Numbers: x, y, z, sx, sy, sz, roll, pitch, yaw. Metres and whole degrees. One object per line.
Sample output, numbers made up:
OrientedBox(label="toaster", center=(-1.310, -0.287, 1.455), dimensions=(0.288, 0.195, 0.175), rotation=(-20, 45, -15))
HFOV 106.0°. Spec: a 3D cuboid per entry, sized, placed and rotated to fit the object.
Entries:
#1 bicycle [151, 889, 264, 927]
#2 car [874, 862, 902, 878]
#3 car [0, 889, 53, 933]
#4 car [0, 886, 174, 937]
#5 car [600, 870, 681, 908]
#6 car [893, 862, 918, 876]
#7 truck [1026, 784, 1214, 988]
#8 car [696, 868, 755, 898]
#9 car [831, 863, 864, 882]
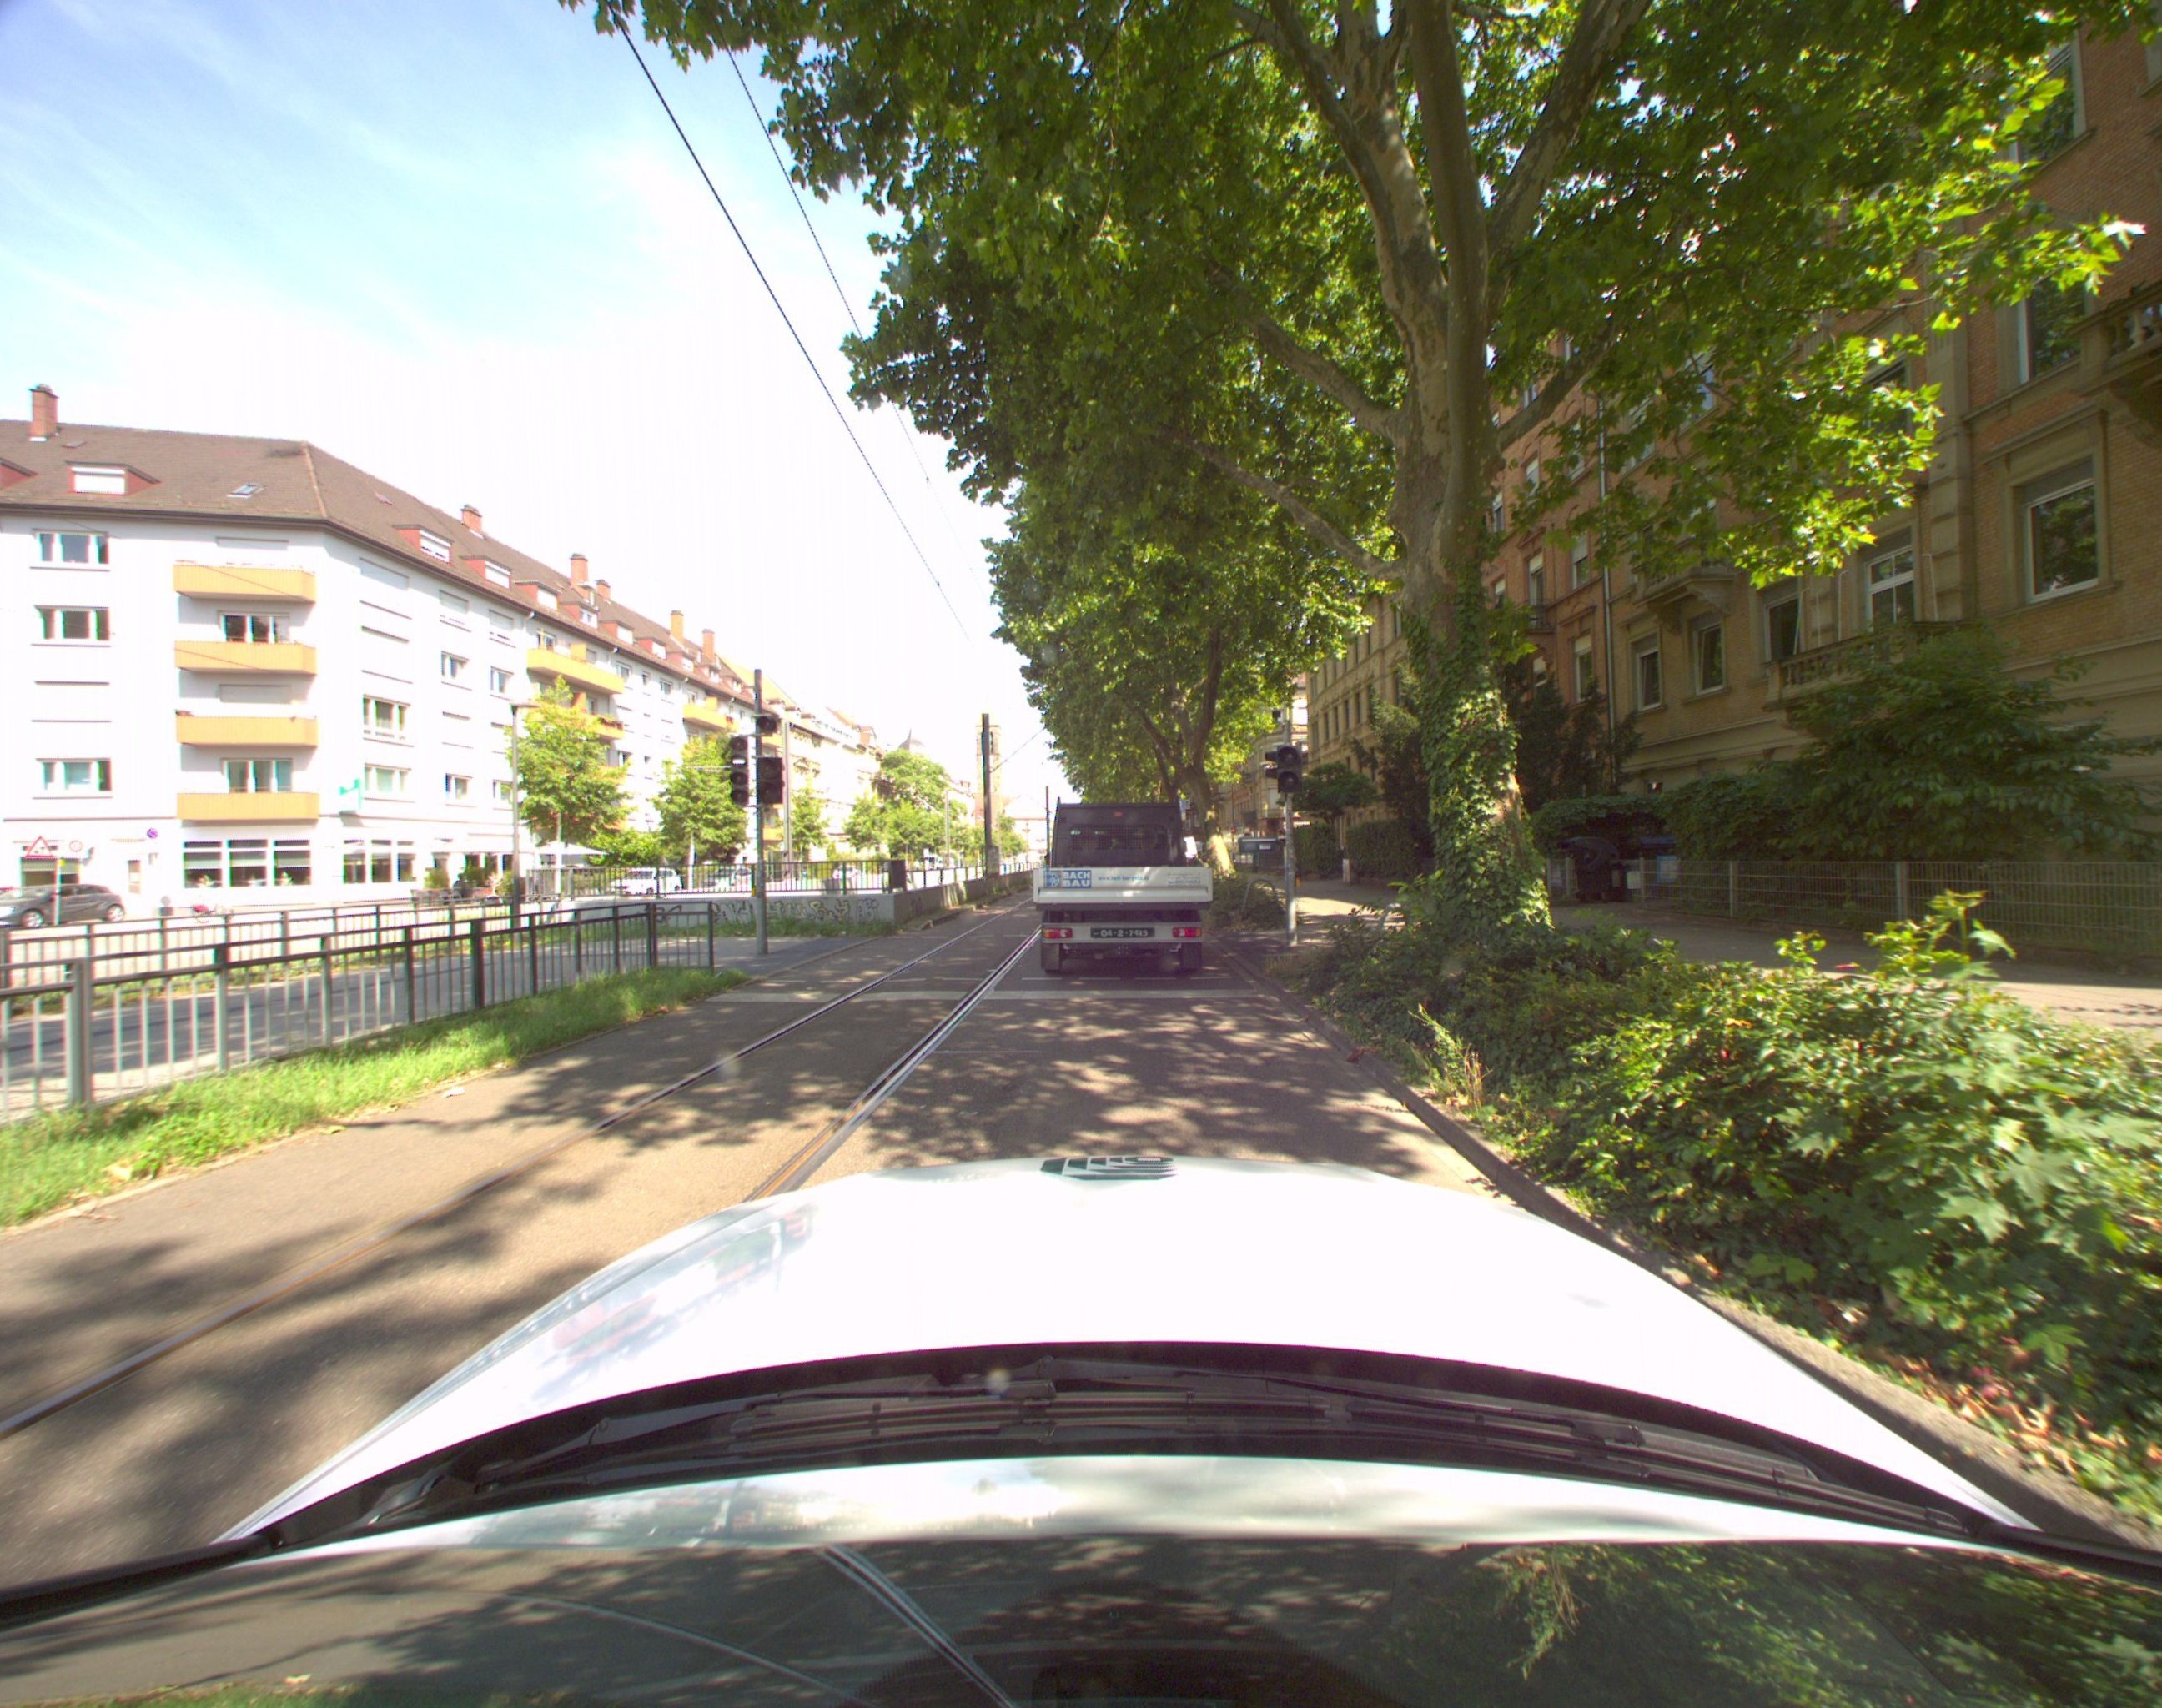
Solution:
OrientedBox(label="bicycle", center=(-30.132, 1.834, 28.189), dimensions=(0.908, 1.137, 2.807), rotation=(-2, 0, -1))
OrientedBox(label="car", center=(-19.343, 1.581, 81.728), dimensions=(1.764, 1.498, 4.000), rotation=(-2, 0, 1))
OrientedBox(label="car", center=(-36.560, 1.925, 26.170), dimensions=(1.929, 1.406, 4.158), rotation=(-2, 0, -6))
OrientedBox(label="car", center=(-33.200, 1.837, 26.734), dimensions=(1.830, 1.376, 4.637), rotation=(-2, 0, -4))
OrientedBox(label="car", center=(-20.537, 1.588, 38.138), dimensions=(1.767, 1.498, 3.994), rotation=(-3, 0, -4))
OrientedBox(label="car", center=(-19.242, 1.614, 89.568), dimensions=(1.764, 1.498, 4.000), rotation=(-2, 0, 1))
OrientedBox(label="truck", center=(0.518, 0.371, 11.575), dimensions=(2.130, 2.319, 4.403), rotation=(-1, 0, 2))
OrientedBox(label="car", center=(-20.291, 1.623, 46.613), dimensions=(1.767, 1.498, 3.994), rotation=(-3, 0, -4))
OrientedBox(label="car", center=(-19.518, 1.521, 68.210), dimensions=(1.767, 1.498, 3.994), rotation=(-2, 0, -4))
